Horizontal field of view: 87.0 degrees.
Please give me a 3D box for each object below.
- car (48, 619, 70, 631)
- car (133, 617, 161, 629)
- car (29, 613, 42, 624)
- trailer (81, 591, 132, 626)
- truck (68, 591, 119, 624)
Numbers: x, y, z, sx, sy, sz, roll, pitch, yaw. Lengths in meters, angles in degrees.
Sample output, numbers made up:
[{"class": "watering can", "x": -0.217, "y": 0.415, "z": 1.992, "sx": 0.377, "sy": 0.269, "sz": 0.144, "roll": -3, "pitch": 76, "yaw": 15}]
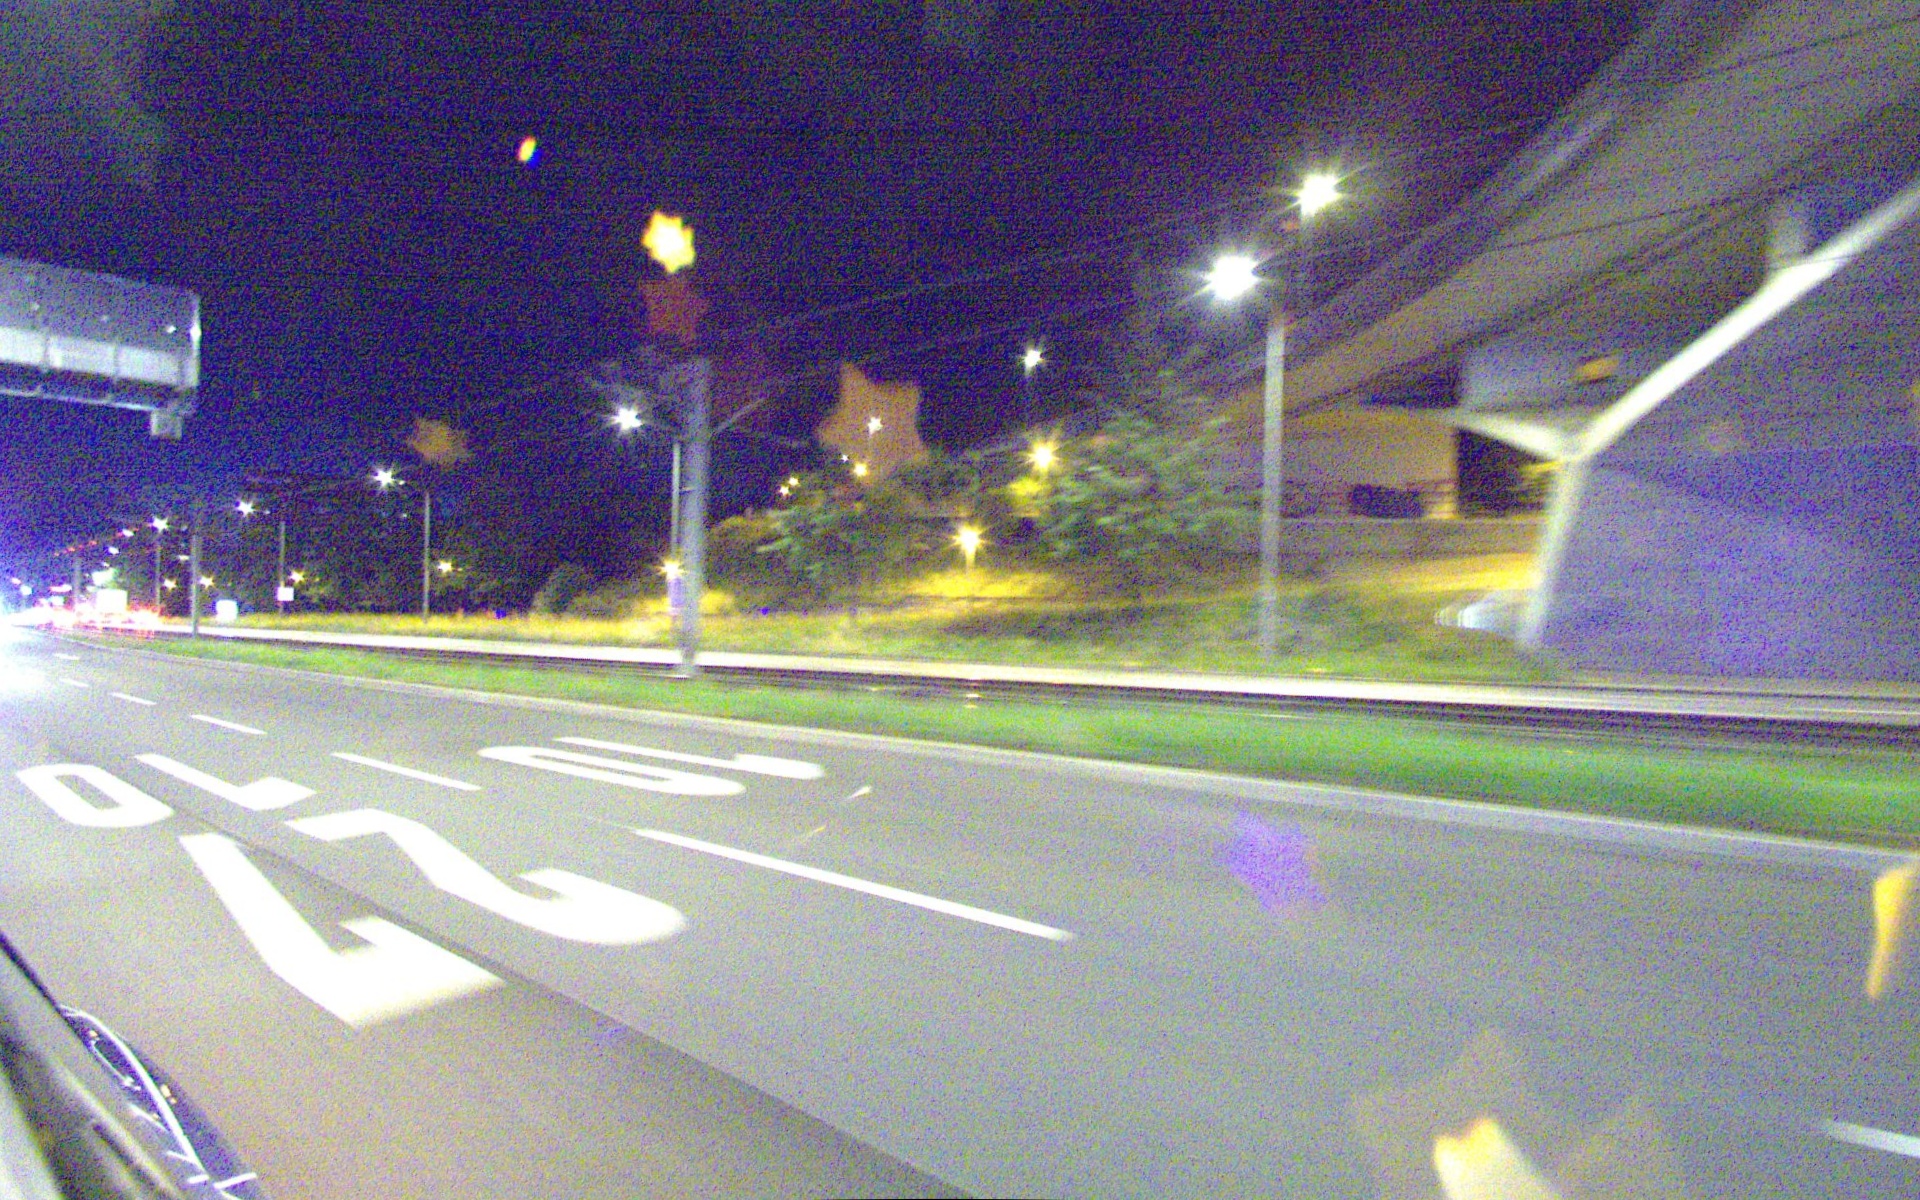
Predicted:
[{"class": "car", "x": -126.064, "y": 3.499, "z": 141.636, "sx": 4.083, "sy": 1.510, "sz": 1.785, "roll": 0, "pitch": 0, "yaw": 41}, {"class": "car", "x": -99.098, "y": 2.791, "z": 123.334, "sx": 4.203, "sy": 1.492, "sz": 1.965, "roll": -1, "pitch": -1, "yaw": 42}, {"class": "car", "x": -174.525, "y": 3.487, "z": 191.005, "sx": 1.768, "sy": 1.921, "sz": 4.005, "roll": -1, "pitch": 1, "yaw": -42}, {"class": "trailer", "x": -103.948, "y": 0.983, "z": 123.238, "sx": 8.393, "sy": 4.019, "sz": 3.657, "roll": 0, "pitch": 1, "yaw": 42}, {"class": "truck", "x": -110.960, "y": 0.946, "z": 129.525, "sx": 10.417, "sy": 3.984, "sz": 3.642, "roll": 0, "pitch": 1, "yaw": 42}]
